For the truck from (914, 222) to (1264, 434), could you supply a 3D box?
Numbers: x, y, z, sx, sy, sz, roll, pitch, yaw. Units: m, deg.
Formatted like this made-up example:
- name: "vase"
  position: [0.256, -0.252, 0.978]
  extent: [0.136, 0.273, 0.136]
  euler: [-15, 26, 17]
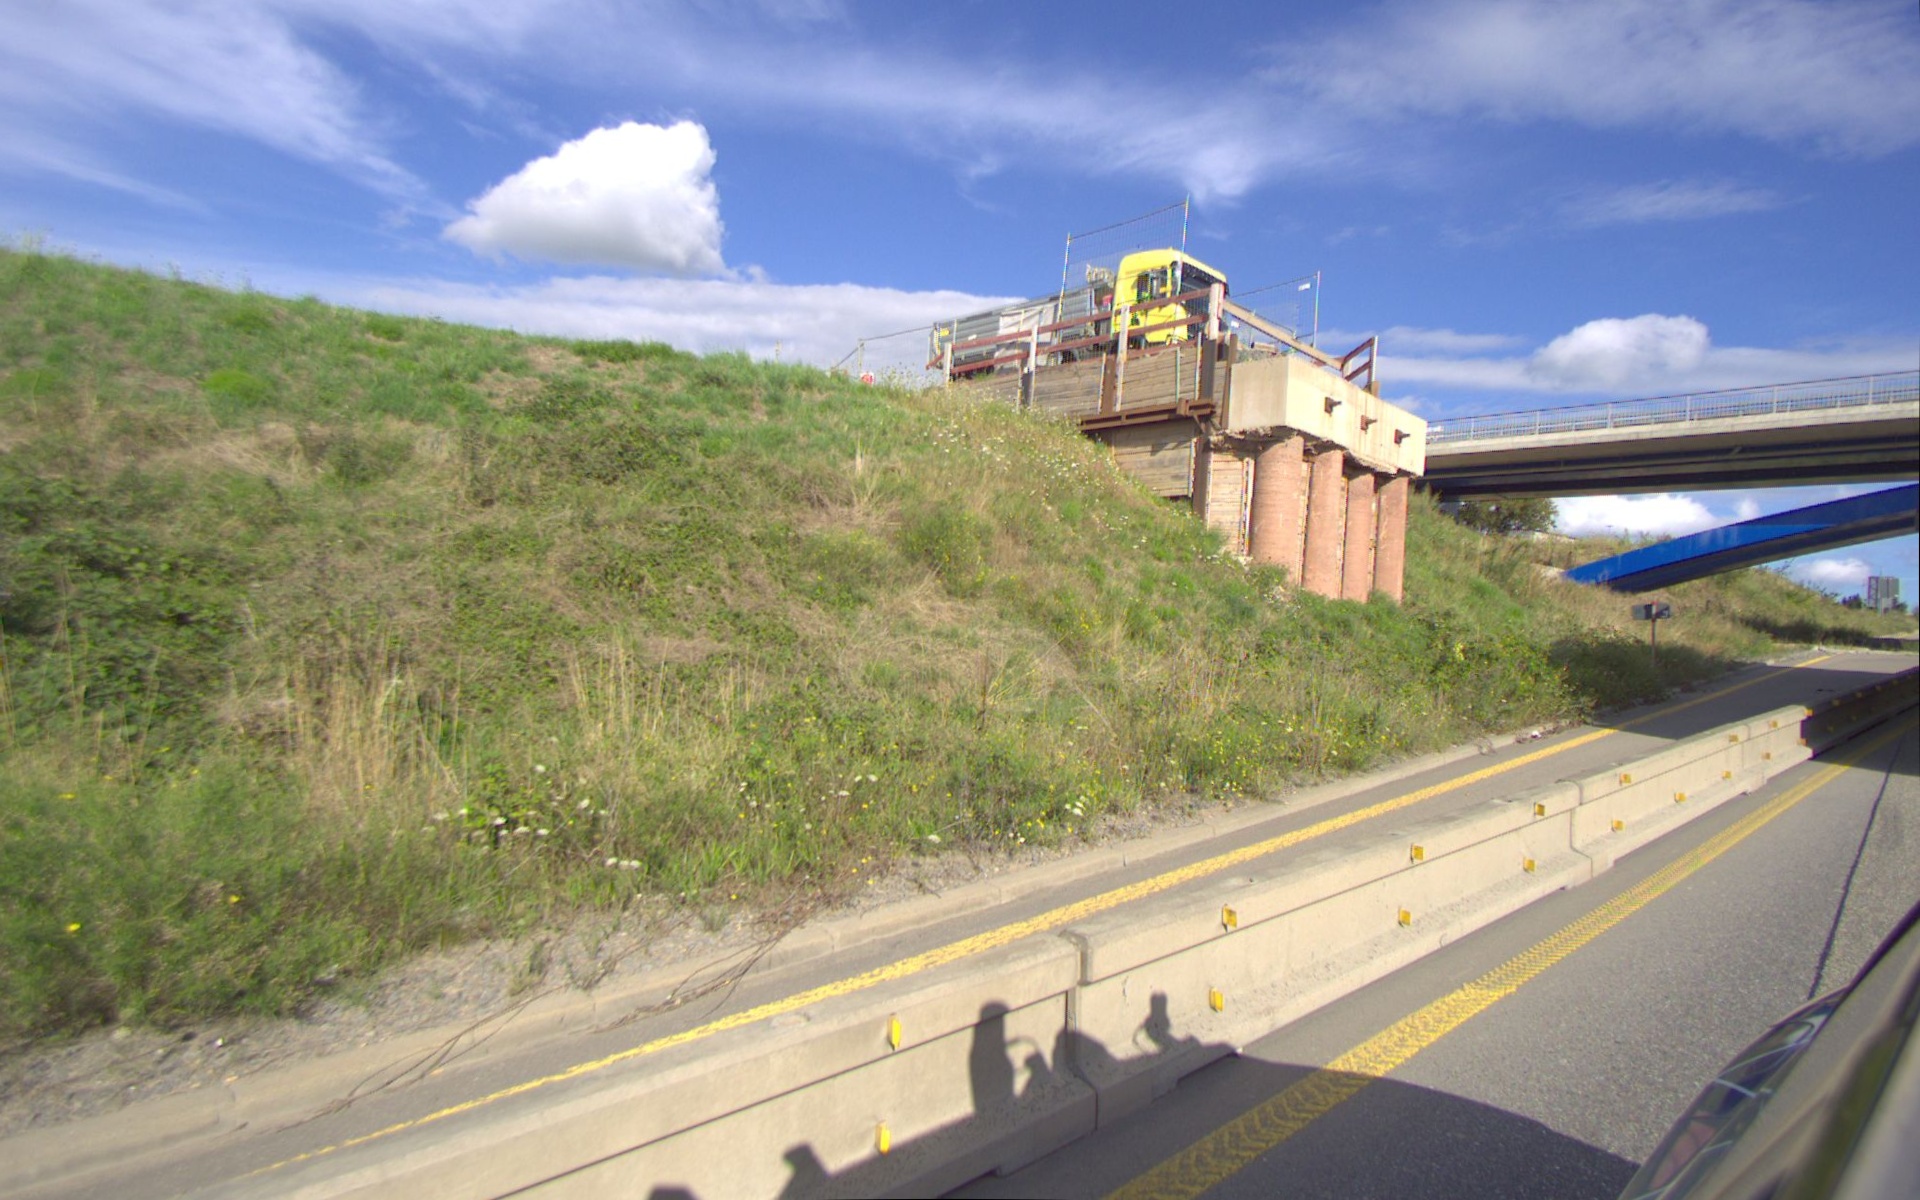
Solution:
- name: "truck"
  position: [2.911, -6.555, 26.120]
  extent: [2.909, 3.268, 9.276]
  euler: [1, 1, -42]
